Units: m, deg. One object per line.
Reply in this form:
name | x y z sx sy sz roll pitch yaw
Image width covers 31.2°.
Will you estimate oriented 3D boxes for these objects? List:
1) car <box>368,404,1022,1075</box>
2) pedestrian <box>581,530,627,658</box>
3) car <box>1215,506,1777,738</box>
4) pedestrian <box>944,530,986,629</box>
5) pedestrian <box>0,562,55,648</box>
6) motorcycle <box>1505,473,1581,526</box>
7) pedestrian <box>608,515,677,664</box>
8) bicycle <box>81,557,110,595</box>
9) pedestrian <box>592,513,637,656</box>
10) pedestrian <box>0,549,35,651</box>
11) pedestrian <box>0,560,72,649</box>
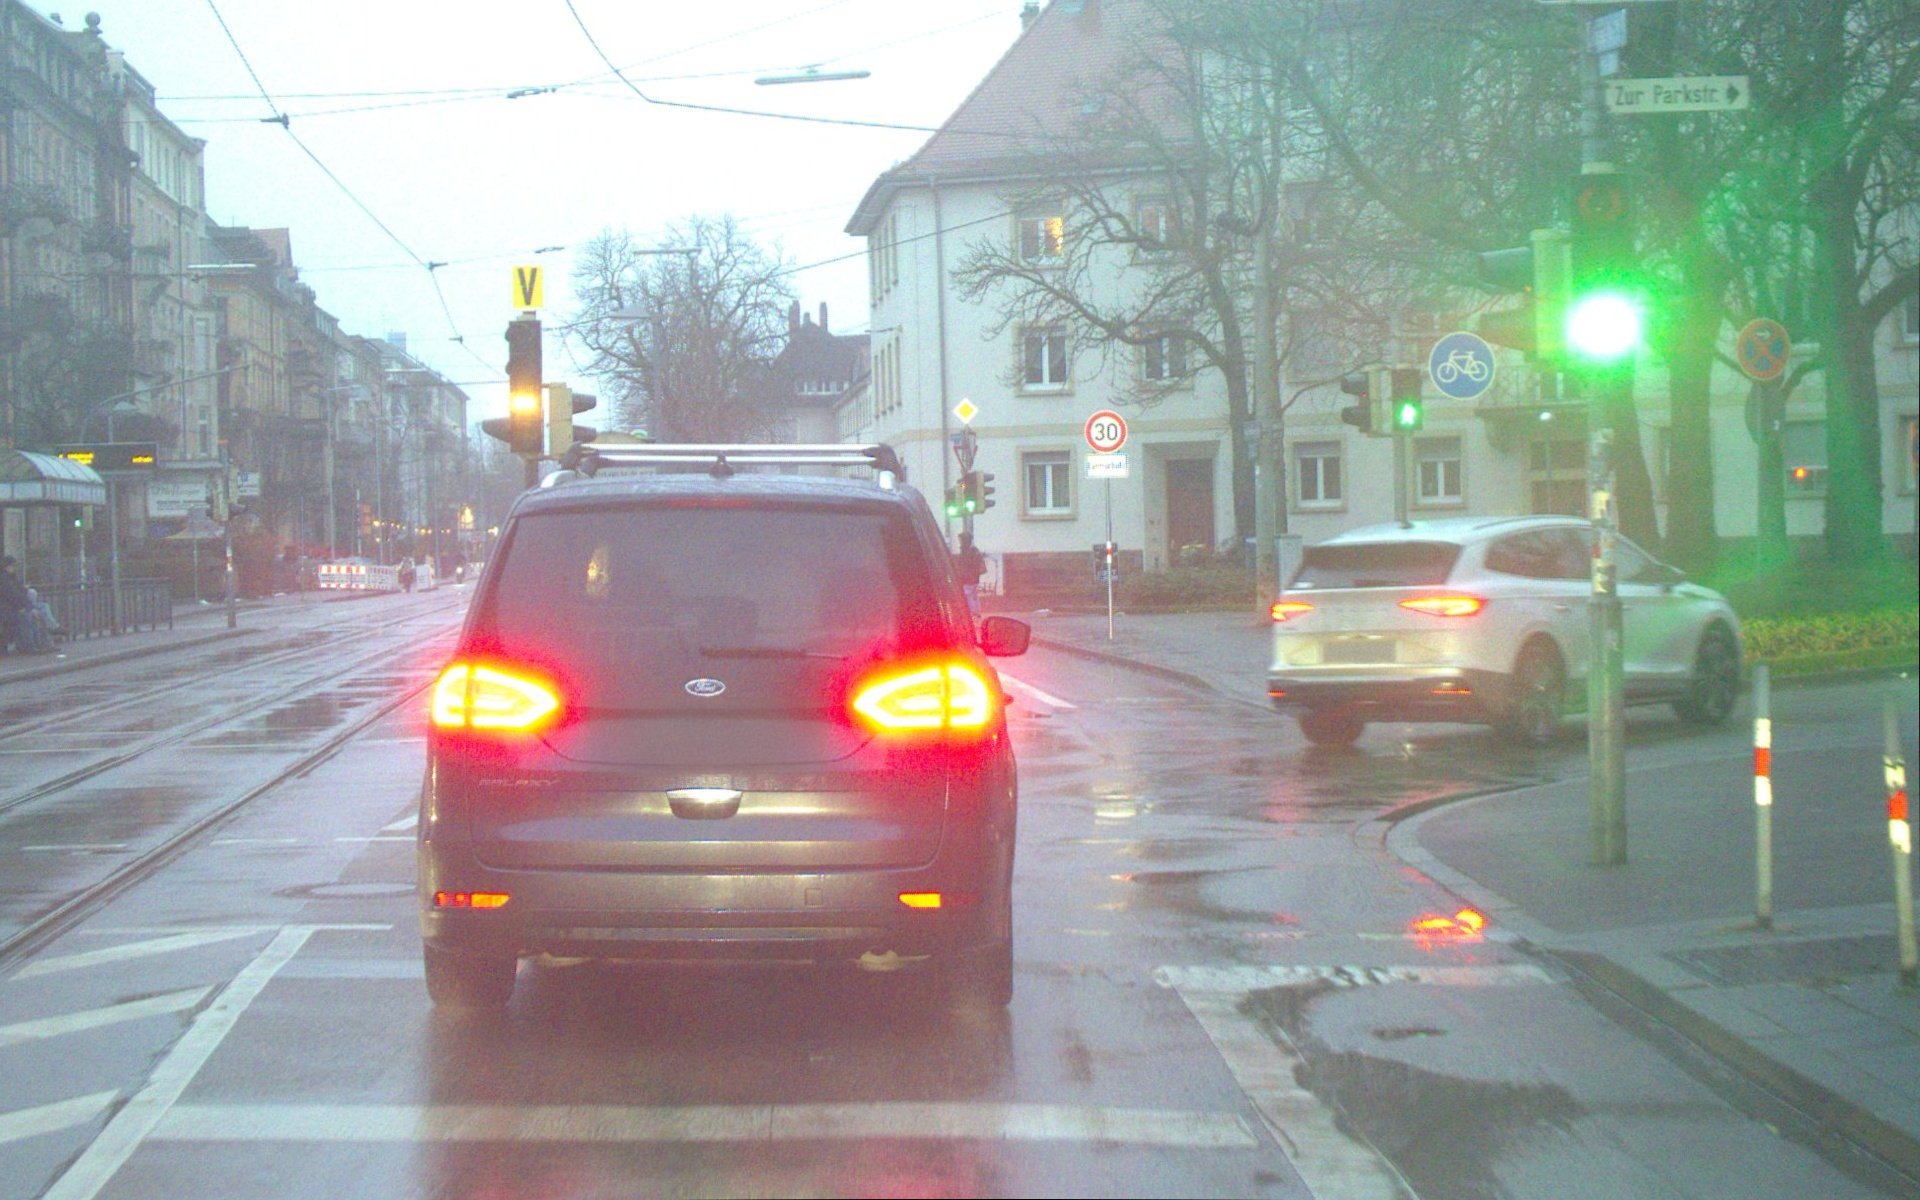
car | -0.882 0.377 11.789 1.801 1.864 4.018 2 1 -4
pedestrian | -4.880 -0.086 47.125 0.557 1.735 0.571 2 0 -4
car | 4.016 0.152 25.103 1.898 1.505 4.743 2 1 39
pedestrian | 0.098 -0.402 67.681 0.715 1.911 0.688 2 0 6
pedestrian | -13.511 0.070 49.816 0.652 1.214 0.517 2 0 -5
motorcycle | 12.680 -2.187 74.804 0.568 1.101 1.602 -5 4 -41
pedestrian | -4.223 -0.141 45.716 0.853 1.949 0.571 2 0 -4
bicycle | -23.434 -0.666 93.225 0.416 1.003 1.849 2 1 -4
pedestrian | -4.839 -0.220 48.149 0.557 1.980 0.571 2 0 -4
pedestrian | -13.238 -0.003 47.660 0.684 1.399 0.578 2 0 -5
pedestrian | -13.330 0.061 49.293 1.055 1.250 0.506 2 0 -5
